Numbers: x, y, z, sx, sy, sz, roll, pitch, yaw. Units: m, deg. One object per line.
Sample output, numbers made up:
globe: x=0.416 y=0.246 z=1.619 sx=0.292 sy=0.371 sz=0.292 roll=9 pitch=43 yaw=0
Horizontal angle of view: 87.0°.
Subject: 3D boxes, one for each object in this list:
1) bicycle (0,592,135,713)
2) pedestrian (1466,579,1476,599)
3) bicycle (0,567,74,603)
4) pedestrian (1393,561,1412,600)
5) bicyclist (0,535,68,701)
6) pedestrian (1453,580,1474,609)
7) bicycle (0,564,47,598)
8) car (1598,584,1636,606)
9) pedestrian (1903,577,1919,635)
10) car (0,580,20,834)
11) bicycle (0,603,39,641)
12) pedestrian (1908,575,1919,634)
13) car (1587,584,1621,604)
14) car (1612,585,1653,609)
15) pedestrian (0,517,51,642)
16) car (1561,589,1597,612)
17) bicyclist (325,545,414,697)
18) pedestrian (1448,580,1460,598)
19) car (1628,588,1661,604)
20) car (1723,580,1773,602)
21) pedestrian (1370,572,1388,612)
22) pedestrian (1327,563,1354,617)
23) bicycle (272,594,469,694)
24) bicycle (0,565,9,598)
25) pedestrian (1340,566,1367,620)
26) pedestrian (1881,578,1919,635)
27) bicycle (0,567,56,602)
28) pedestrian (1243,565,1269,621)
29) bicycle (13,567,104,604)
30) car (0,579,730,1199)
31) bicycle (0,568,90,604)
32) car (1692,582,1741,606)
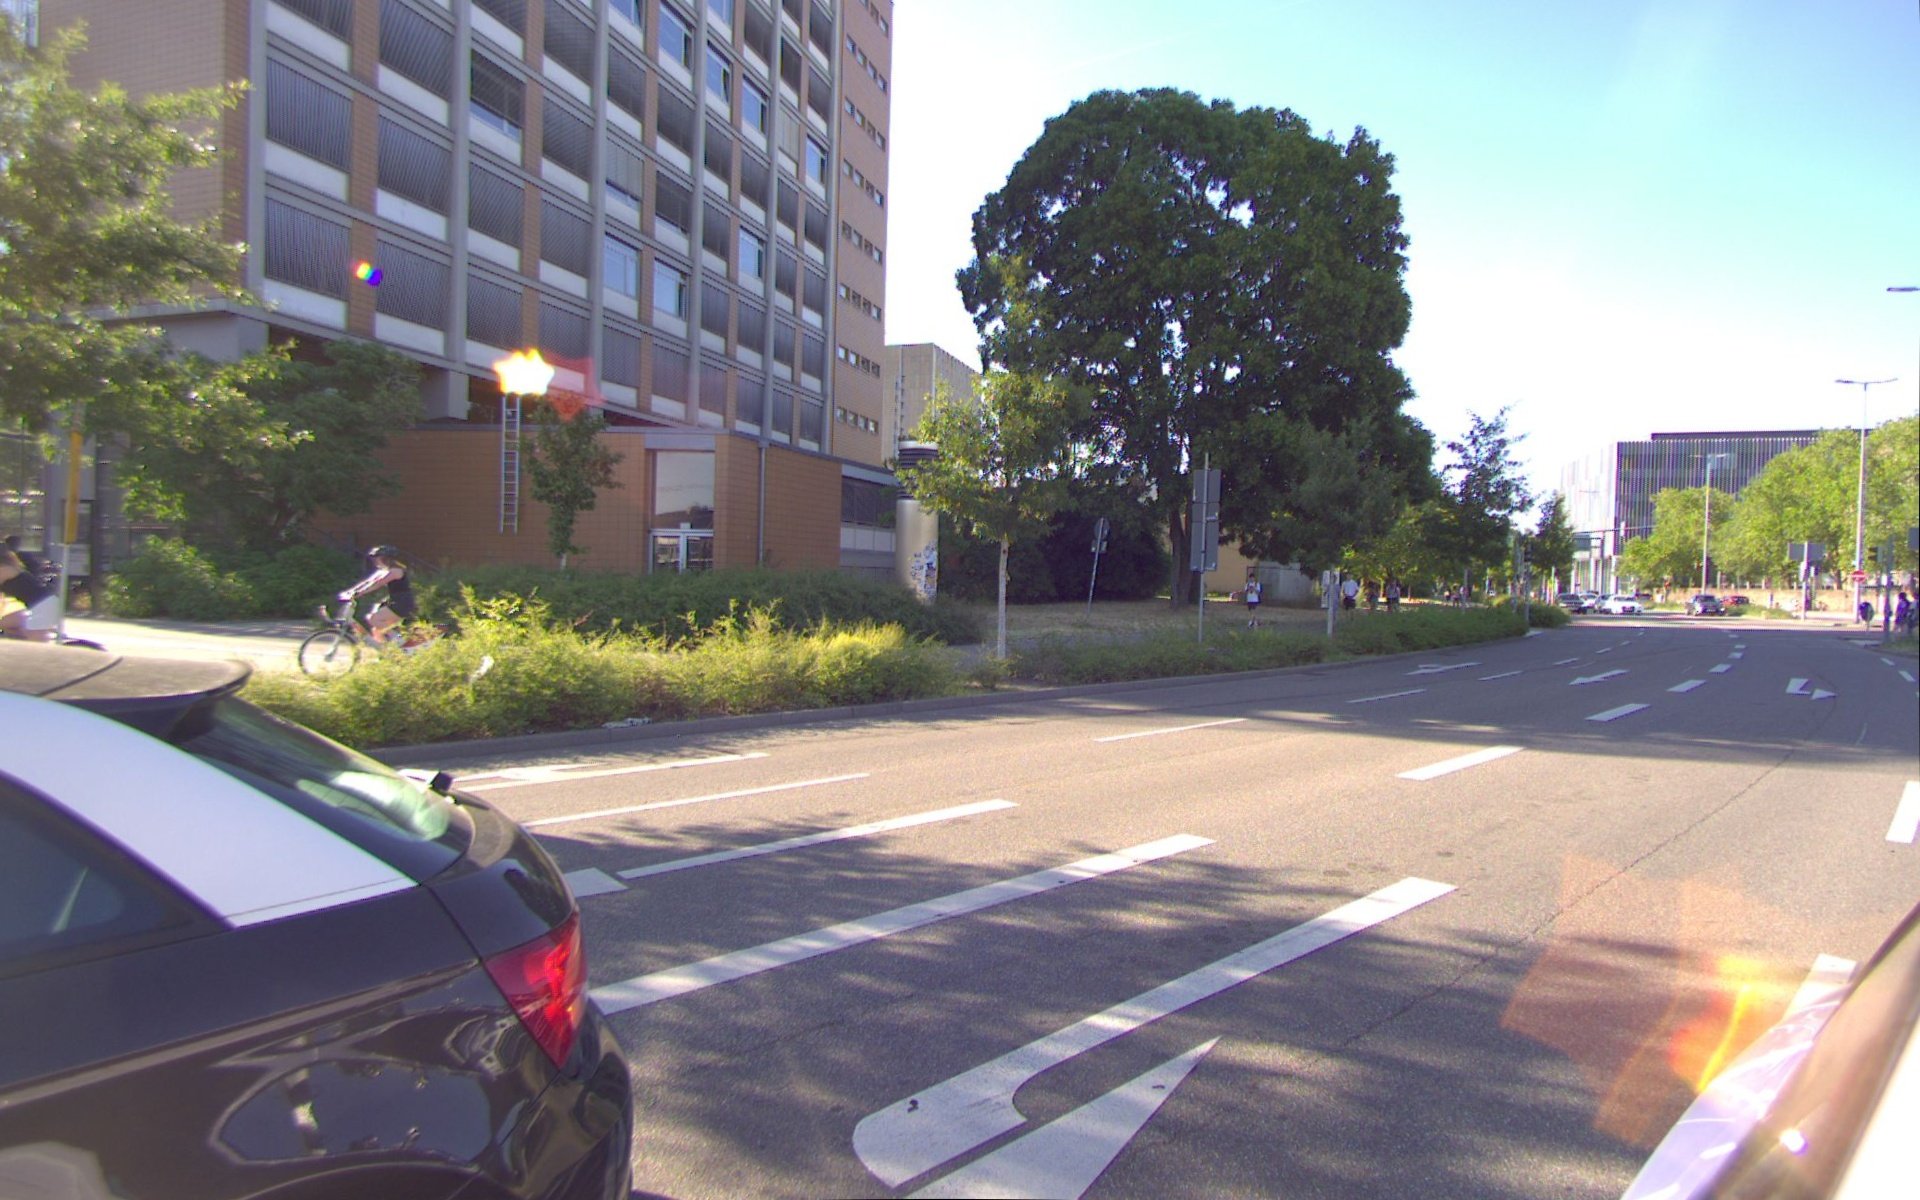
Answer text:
bicycle: x=-9.277 y=0.501 z=9.890 sx=1.836 sy=1.135 sz=0.718 roll=2 pitch=-1 yaw=-41
pedestrian: x=44.326 y=-0.963 z=87.746 sx=0.705 sy=1.734 sz=0.728 roll=2 pitch=1 yaw=24
bicycle: x=-23.382 y=-0.381 z=25.436 sx=0.522 sy=0.868 sz=1.644 roll=2 pitch=2 yaw=18
pedestrian: x=20.035 y=-0.898 z=45.849 sx=0.667 sy=1.725 sz=0.872 roll=2 pitch=1 yaw=18
bicyclist: x=-9.300 y=0.168 z=9.866 sx=0.834 sy=1.568 sz=0.716 roll=2 pitch=-1 yaw=-41
pedestrian: x=31.972 y=-0.356 z=64.334 sx=1.005 sy=1.771 sz=0.845 roll=2 pitch=1 yaw=18
bicycle: x=-24.804 y=-0.498 z=26.247 sx=0.522 sy=0.868 sz=1.644 roll=2 pitch=2 yaw=18
car: x=50.589 y=-0.428 z=77.984 sx=1.907 sy=1.538 sz=3.981 roll=2 pitch=2 yaw=26
pedestrian: x=29.403 y=0.185 z=30.807 sx=0.923 sy=1.762 sz=0.746 roll=2 pitch=1 yaw=39
car: x=-7.020 y=0.626 z=4.569 sx=3.905 sy=1.462 sz=1.805 roll=0 pitch=0 yaw=-38
bicycle: x=-14.520 y=0.327 z=14.920 sx=0.428 sy=0.546 sz=1.340 roll=4 pitch=2 yaw=35
pedestrian: x=28.925 y=0.139 z=30.120 sx=0.923 sy=1.762 sz=0.746 roll=2 pitch=2 yaw=39
car: x=53.560 y=-0.548 z=84.239 sx=1.907 sy=1.538 sz=3.981 roll=2 pitch=2 yaw=26
car: x=47.418 y=-0.249 z=71.436 sx=1.786 sy=1.538 sz=4.391 roll=2 pitch=2 yaw=26
pedestrian: x=-13.332 y=-0.273 z=13.999 sx=0.775 sy=1.680 sz=0.809 roll=0 pitch=-1 yaw=-3
car: x=43.922 y=0.002 z=71.880 sx=1.786 sy=1.538 sz=3.964 roll=2 pitch=2 yaw=26
bicyclist: x=-7.375 y=0.243 z=12.638 sx=0.835 sy=1.810 sz=0.716 roll=0 pitch=0 yaw=-43
pedestrian: x=43.714 y=-1.010 z=89.605 sx=0.753 sy=1.562 sz=0.842 roll=2 pitch=2 yaw=18
car: x=75.772 y=-0.448 z=112.076 sx=2.171 sy=1.705 sz=4.570 roll=2 pitch=2 yaw=24
car: x=64.093 y=-0.686 z=82.408 sx=2.173 sy=1.606 sz=4.566 roll=2 pitch=0 yaw=25
pedestrian: x=16.885 y=-0.327 z=40.764 sx=0.616 sy=1.594 sz=0.634 roll=2 pitch=1 yaw=24
pedestrian: x=13.515 y=-0.367 z=35.980 sx=0.609 sy=1.892 sz=0.578 roll=1 pitch=1 yaw=-15
bicycle: x=-7.333 y=0.500 z=12.661 sx=2.032 sy=1.135 sz=0.718 roll=-1 pitch=0 yaw=-43
bicycle: x=-26.128 y=-0.492 z=26.559 sx=0.522 sy=0.868 sz=1.644 roll=2 pitch=2 yaw=18
pedestrian: x=13.870 y=-0.249 z=35.651 sx=0.609 sy=1.892 sz=0.578 roll=1 pitch=1 yaw=-15
pedestrian: x=29.917 y=0.183 z=32.110 sx=0.923 sy=1.762 sz=0.746 roll=2 pitch=1 yaw=39
bicycle: x=-23.982 y=-0.406 z=25.585 sx=0.522 sy=0.868 sz=1.644 roll=2 pitch=2 yaw=18
pedestrian: x=9.226 y=-0.235 z=31.542 sx=0.618 sy=1.720 sz=0.623 roll=2 pitch=1 yaw=32
bicycle: x=-22.309 y=-0.361 z=25.087 sx=0.522 sy=0.868 sz=1.644 roll=2 pitch=2 yaw=18
car: x=-2.417 y=0.705 z=1.054 sx=3.913 sy=1.462 sz=1.802 roll=0 pitch=1 yaw=-45
bicycle: x=-22.832 y=-0.364 z=25.272 sx=0.522 sy=0.868 sz=1.644 roll=2 pitch=2 yaw=18
car: x=51.543 y=-0.456 z=69.038 sx=1.907 sy=1.538 sz=3.981 roll=2 pitch=2 yaw=26
